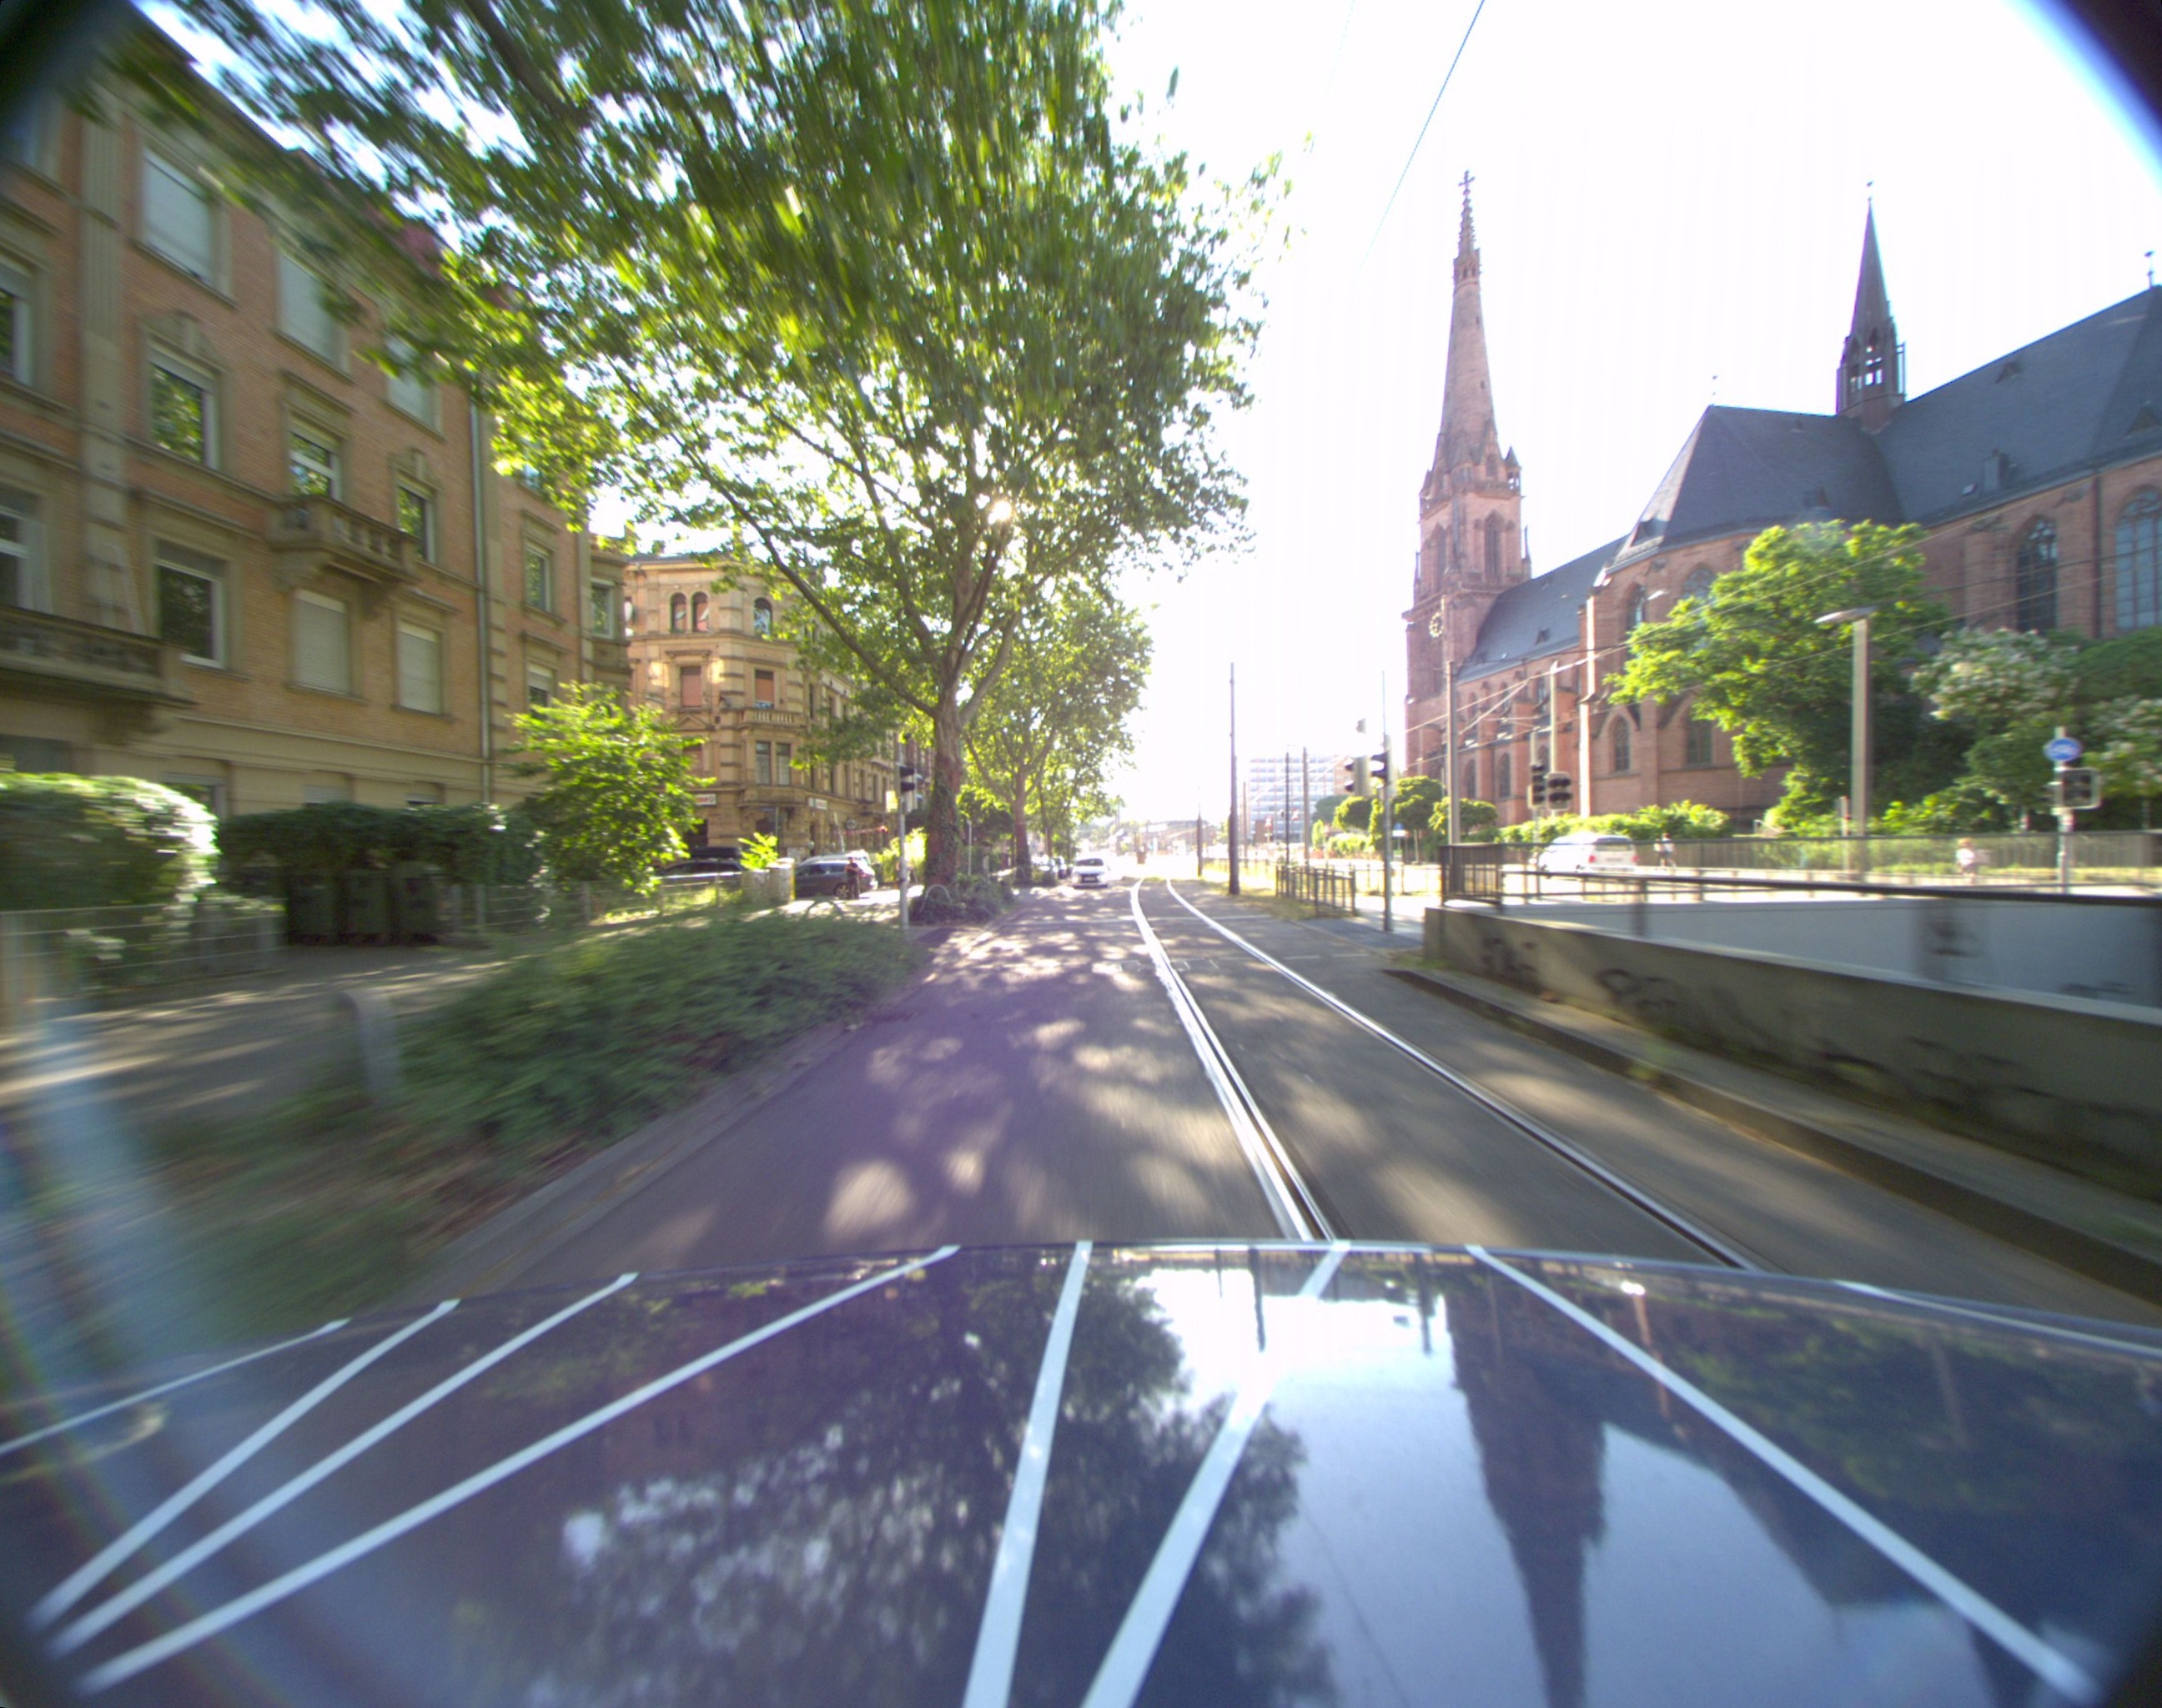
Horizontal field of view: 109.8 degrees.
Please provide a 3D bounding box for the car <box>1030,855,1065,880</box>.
[{"bbox_3d":[-1.975,0.789,46.131,1.680,1.386,4.571,2,0,2],"label":"car"}]

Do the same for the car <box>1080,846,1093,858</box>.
[{"bbox_3d":[0.840,-0.258,112.539,1.823,1.605,4.001,-2,0,3],"label":"car"}]

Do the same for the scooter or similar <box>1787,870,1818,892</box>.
[{"bbox_3d":[32.064,1.201,33.779,0.309,0.930,0.919,-2,0,-19],"label":"scooter or similar"}]

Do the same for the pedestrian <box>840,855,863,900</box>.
[{"bbox_3d":[-7.967,0.833,26.387,0.540,1.540,0.607,1,-2,1],"label":"pedestrian"}]

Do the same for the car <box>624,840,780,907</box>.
[{"bbox_3d":[-12.307,0.669,24.887,3.997,2.000,2.001,1,-3,0],"label":"car"}]

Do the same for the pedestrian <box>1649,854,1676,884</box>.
[{"bbox_3d":[29.496,0.773,38.545,0.587,1.480,0.946,-2,0,-1],"label":"pedestrian"}]

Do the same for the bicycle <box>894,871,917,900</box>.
[{"bbox_3d":[-6.395,1.127,27.764,0.562,1.031,1.932,-1,-1,-5],"label":"bicycle"}]

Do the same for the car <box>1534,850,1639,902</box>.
[{"bbox_3d":[22.204,0.902,33.649,1.996,2.002,5.017,3,0,11],"label":"car"}]

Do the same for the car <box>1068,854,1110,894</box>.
[{"bbox_3d":[0.441,0.912,36.216,1.823,1.728,4.001,-2,0,3],"label":"car"}]

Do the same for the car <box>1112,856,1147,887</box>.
[{"bbox_3d":[2.610,0.920,41.590,1.823,1.605,4.001,0,-1,3],"label":"car"}]

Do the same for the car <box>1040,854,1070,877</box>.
[{"bbox_3d":[-1.758,0.766,52.836,1.679,1.507,4.724,2,0,3],"label":"car"}]

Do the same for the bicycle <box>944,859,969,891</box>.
[{"bbox_3d":[-4.731,0.807,29.011,0.562,1.171,2.227,1,-2,0],"label":"bicycle"}]

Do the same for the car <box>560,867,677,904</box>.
[{"bbox_3d":[-20.948,1.402,34.531,4.180,1.553,1.908,0,0,1],"label":"car"}]

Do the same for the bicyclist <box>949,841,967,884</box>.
[{"bbox_3d":[-4.719,0.326,29.257,0.544,1.615,0.644,1,-2,0],"label":"bicyclist"}]

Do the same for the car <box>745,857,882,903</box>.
[{"bbox_3d":[-10.159,0.973,29.158,4.560,1.530,1.907,-2,0,-4],"label":"car"}]

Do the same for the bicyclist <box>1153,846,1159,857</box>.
[{"bbox_3d":[13.500,-0.473,136.616,0.775,1.860,0.611,-2,0,20],"label":"bicyclist"}]

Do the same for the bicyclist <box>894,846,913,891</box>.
[{"bbox_3d":[-6.457,0.515,27.703,0.544,1.616,0.644,2,0,-5],"label":"bicyclist"}]

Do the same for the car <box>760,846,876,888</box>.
[{"bbox_3d":[-11.783,0.577,34.228,4.558,1.835,1.908,0,0,1],"label":"car"}]

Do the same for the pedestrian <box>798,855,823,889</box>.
[{"bbox_3d":[-13.061,0.854,36.665,0.888,1.581,0.875,-2,0,-5],"label":"pedestrian"}]

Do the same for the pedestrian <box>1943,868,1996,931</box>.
[{"bbox_3d":[24.050,1.213,20.569,0.494,1.663,0.755,-2,0,-13],"label":"pedestrian"}]

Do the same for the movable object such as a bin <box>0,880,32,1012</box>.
[{"bbox_3d":[-12.486,1.017,8.150,0.909,1.456,1.084,3,0,0],"label":"movable object such as a bin"}]

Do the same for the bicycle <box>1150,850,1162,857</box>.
[{"bbox_3d":[13.504,-0.067,136.614,2.063,1.077,0.611,-2,0,20],"label":"bicycle"}]

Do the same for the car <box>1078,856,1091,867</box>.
[{"bbox_3d":[0.559,1.180,116.376,1.823,1.605,4.000,-2,0,1],"label":"car"}]

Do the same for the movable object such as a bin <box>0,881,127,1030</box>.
[{"bbox_3d":[-11.449,1.052,8.187,0.909,1.456,1.084,3,0,0],"label":"movable object such as a bin"}]

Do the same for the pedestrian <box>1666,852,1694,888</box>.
[{"bbox_3d":[30.396,0.794,38.555,0.587,1.774,0.946,-2,0,-1],"label":"pedestrian"}]
